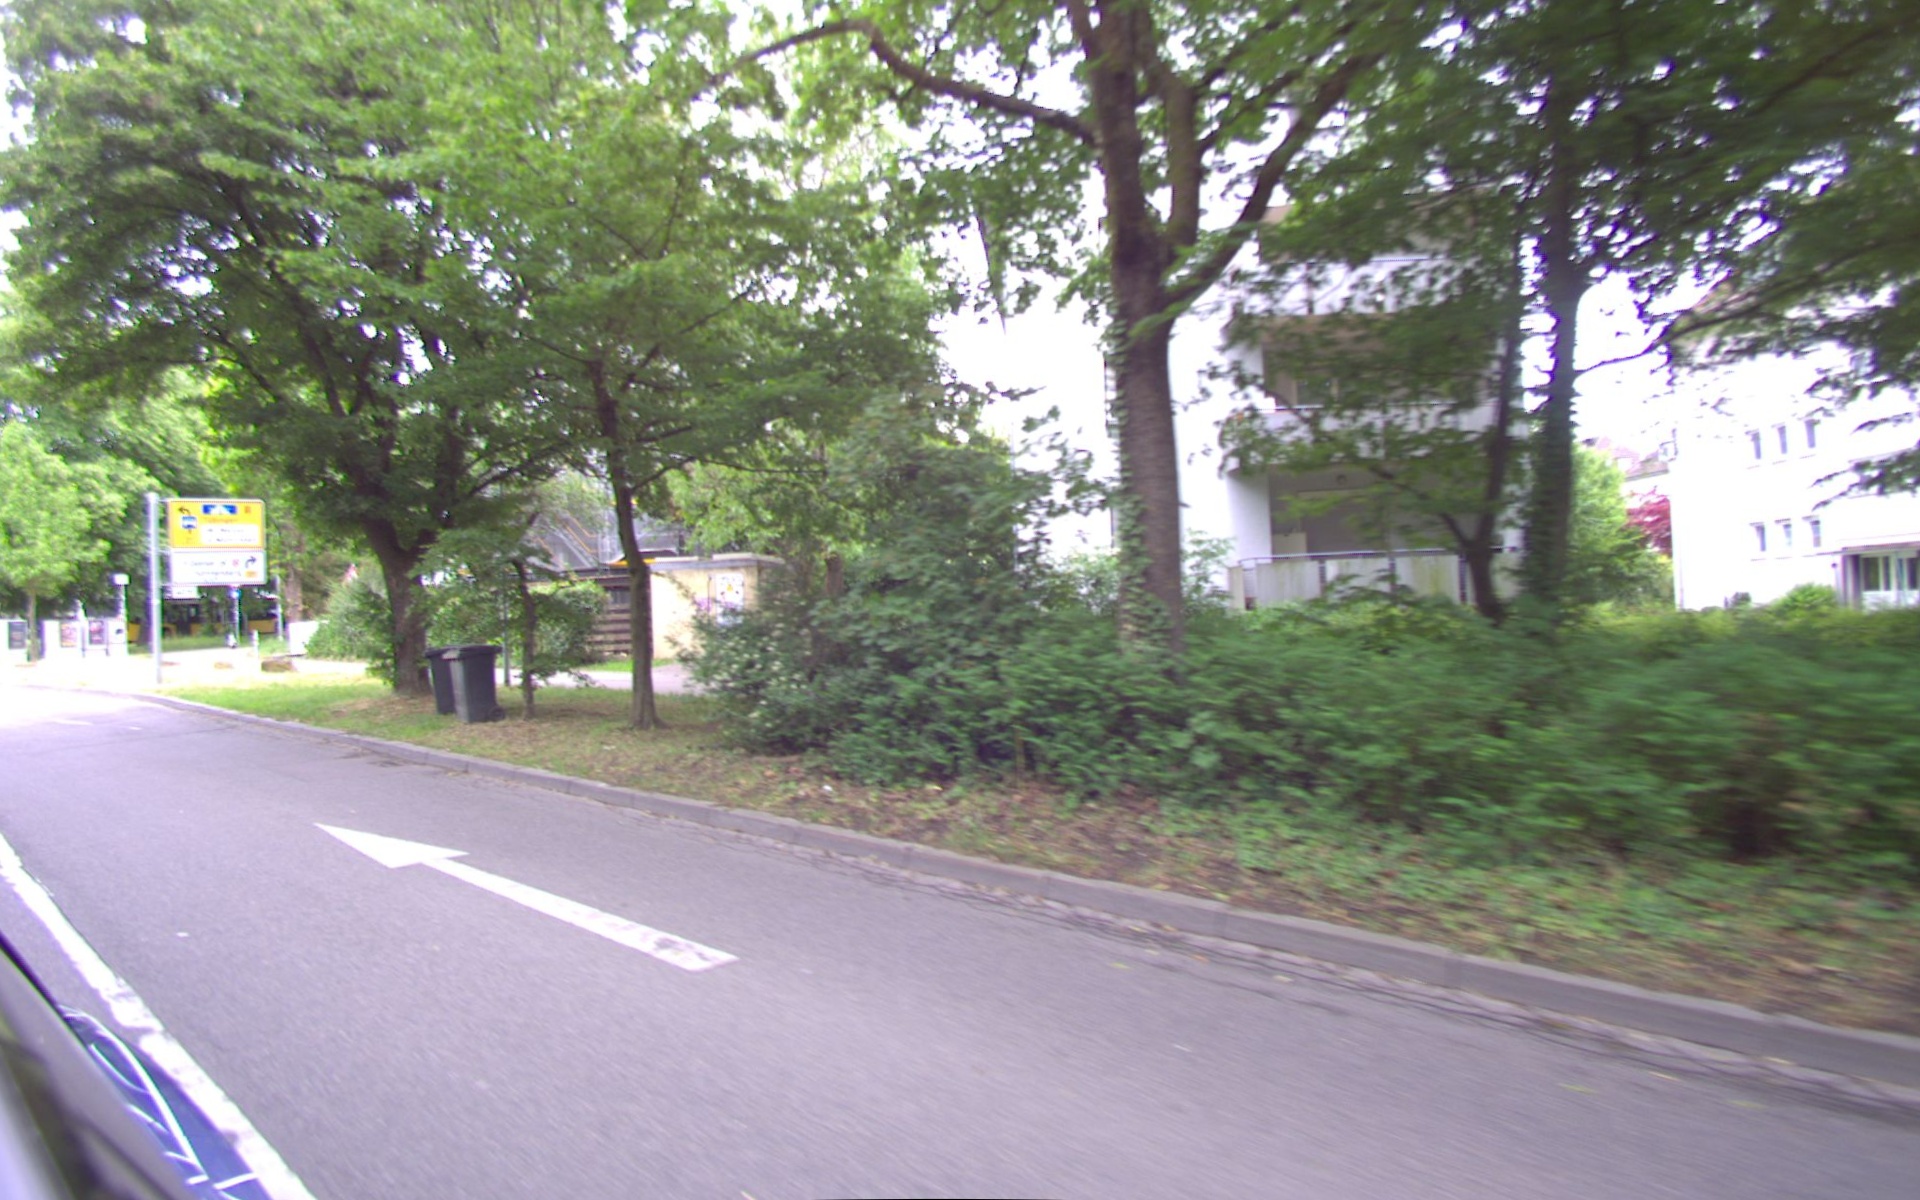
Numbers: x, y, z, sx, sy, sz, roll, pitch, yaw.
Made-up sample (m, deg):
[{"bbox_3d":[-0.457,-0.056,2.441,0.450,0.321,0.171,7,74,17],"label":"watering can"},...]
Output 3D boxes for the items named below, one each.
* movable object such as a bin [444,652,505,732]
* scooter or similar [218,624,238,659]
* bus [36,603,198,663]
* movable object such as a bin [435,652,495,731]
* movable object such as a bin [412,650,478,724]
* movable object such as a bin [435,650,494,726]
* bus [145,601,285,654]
[{"bbox_3d":[-5.842,1.092,12.174,0.590,0.851,0.580,-4,1,-28],"label":"movable object such as a bin"},{"bbox_3d":[-31.464,1.780,43.490,0.547,1.456,1.595,-5,1,-39],"label":"scooter or similar"},{"bbox_3d":[-50.250,1.864,60.731,3.008,3.031,8.439,-4,1,-5],"label":"bus"},{"bbox_3d":[-6.155,1.119,12.574,0.590,0.872,0.580,-4,1,-28],"label":"movable object such as a bin"},{"bbox_3d":[-6.900,1.149,13.553,0.718,0.869,0.624,-4,1,-28],"label":"movable object such as a bin"},{"bbox_3d":[-6.429,1.127,13.125,0.610,0.885,0.595,-4,1,-28],"label":"movable object such as a bin"},{"bbox_3d":[-51.010,1.755,69.771,3.008,3.031,9.707,-4,1,-5],"label":"bus"}]
